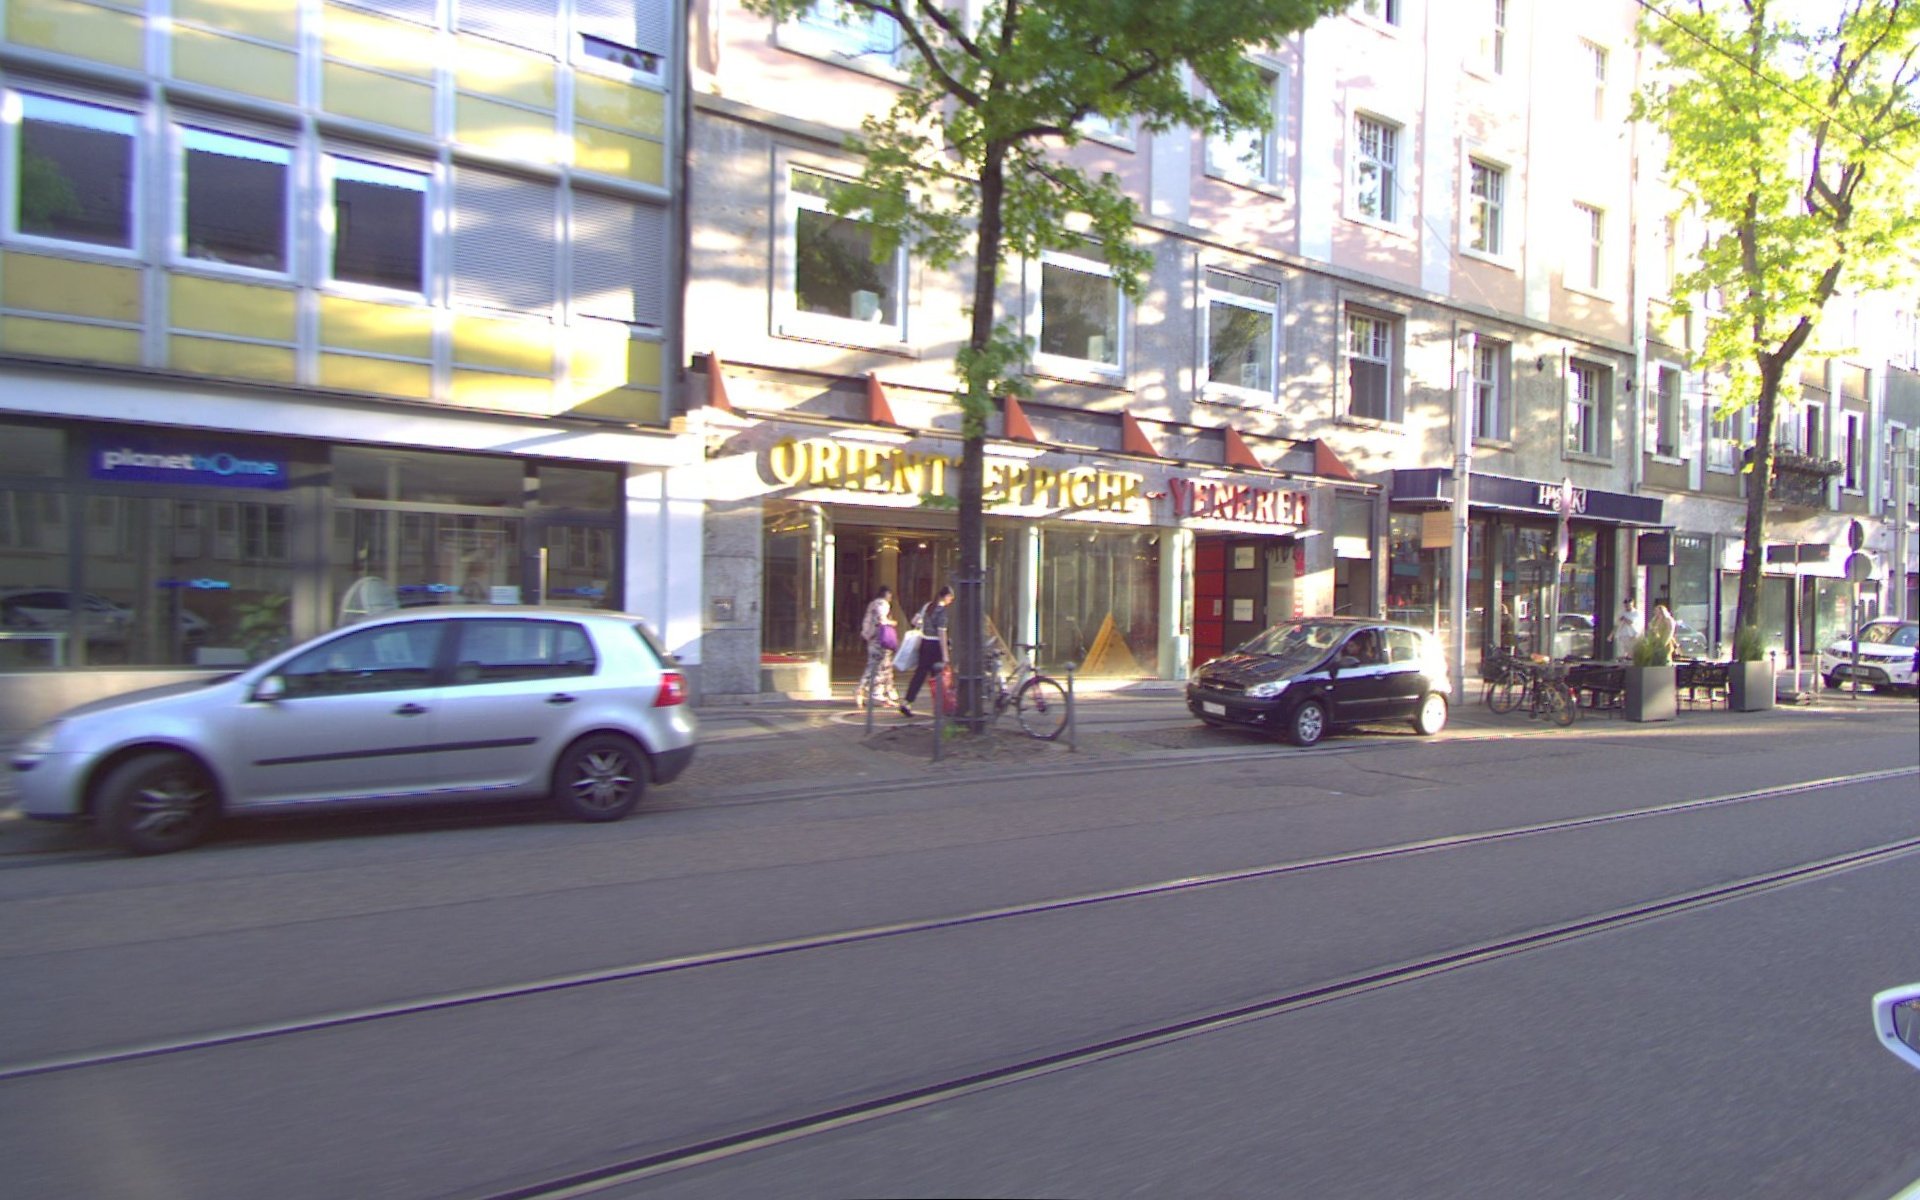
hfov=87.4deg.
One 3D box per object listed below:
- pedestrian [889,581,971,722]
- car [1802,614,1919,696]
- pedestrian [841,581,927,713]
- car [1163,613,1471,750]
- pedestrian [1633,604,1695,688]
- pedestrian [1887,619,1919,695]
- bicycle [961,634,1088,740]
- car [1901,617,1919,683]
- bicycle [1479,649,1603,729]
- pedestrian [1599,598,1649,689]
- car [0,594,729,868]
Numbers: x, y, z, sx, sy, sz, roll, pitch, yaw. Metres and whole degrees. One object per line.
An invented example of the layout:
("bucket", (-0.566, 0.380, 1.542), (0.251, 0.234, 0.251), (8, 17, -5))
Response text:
("pedestrian", (-0.387, 0.636, 12.806), (0.731, 1.716, 0.840), (1, 0, -30))
("car", (21.343, 1.207, 22.944), (4.066, 1.601, 1.828), (1, 3, -29))
("pedestrian", (-1.038, 0.619, 13.622), (0.903, 1.716, 0.785), (1, 0, -30))
("car", (4.639, 0.956, 12.973), (3.782, 1.448, 1.657), (1, 3, -30))
("pedestrian", (15.445, 0.987, 22.038), (1.077, 1.784, 0.718), (1, 0, -29))
("pedestrian", (19.416, 1.154, 20.425), (0.720, 1.529, 0.617), (2, -1, -29))
("bicycle", (0.727, 0.988, 11.916), (0.436, 1.079, 1.796), (1, 1, -37))
("car", (25.720, 1.307, 25.086), (4.645, 1.601, 1.828), (1, 3, -29))
("bicycle", (8.470, 1.267, 14.712), (0.426, 0.978, 1.612), (1, 2, -23))
("pedestrian", (15.227, 0.990, 23.036), (0.635, 2.040, 0.719), (1, 0, -29))
("car", (-3.900, 0.772, 7.196), (4.116, 1.517, 1.762), (1, 0, -24))
